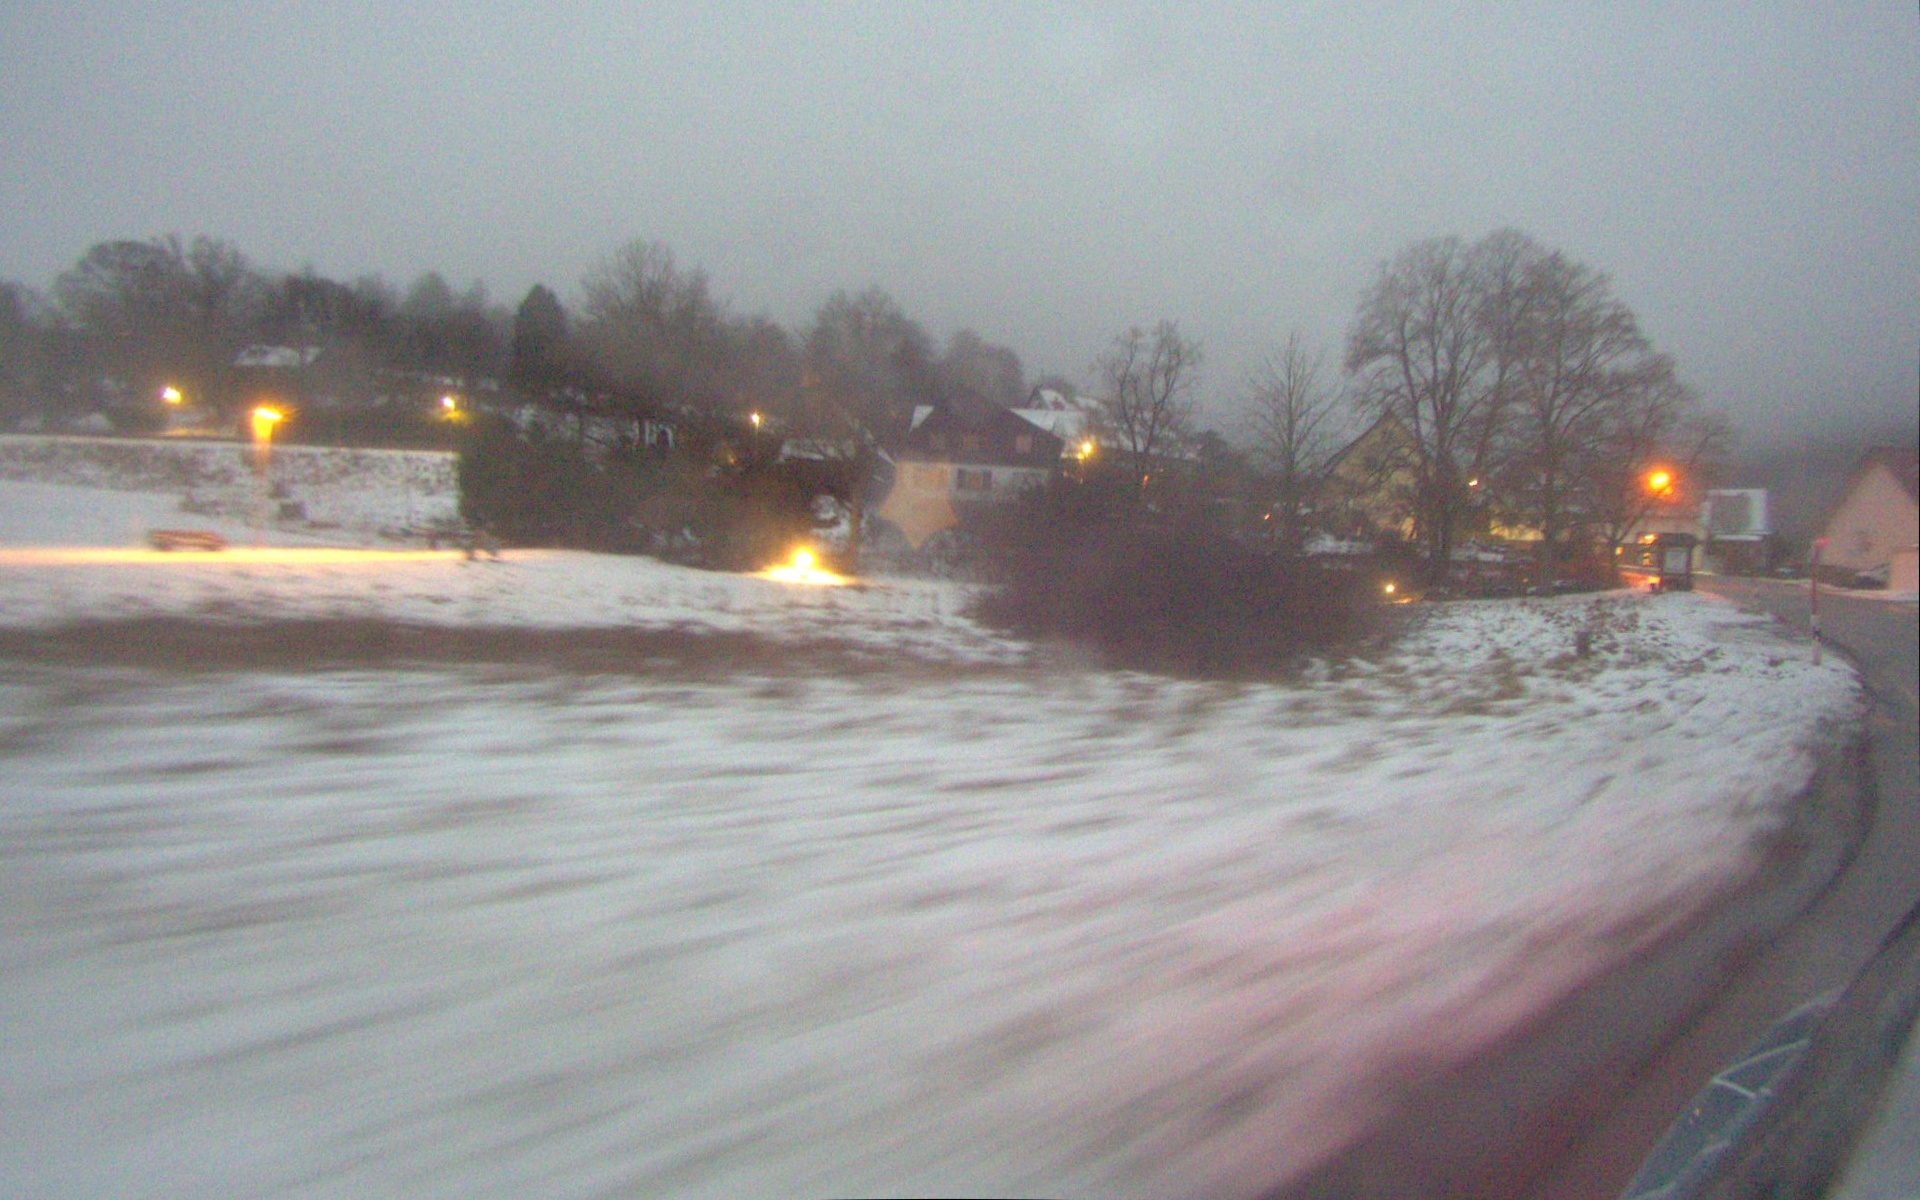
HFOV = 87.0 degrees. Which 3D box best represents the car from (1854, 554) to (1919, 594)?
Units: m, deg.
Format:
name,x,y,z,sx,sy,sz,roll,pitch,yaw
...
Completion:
name,x,y,z,sx,sy,sz,roll,pitch,yaw
car,55.684,-1.470,58.660,5.227,2.036,2.197,4,7,26
